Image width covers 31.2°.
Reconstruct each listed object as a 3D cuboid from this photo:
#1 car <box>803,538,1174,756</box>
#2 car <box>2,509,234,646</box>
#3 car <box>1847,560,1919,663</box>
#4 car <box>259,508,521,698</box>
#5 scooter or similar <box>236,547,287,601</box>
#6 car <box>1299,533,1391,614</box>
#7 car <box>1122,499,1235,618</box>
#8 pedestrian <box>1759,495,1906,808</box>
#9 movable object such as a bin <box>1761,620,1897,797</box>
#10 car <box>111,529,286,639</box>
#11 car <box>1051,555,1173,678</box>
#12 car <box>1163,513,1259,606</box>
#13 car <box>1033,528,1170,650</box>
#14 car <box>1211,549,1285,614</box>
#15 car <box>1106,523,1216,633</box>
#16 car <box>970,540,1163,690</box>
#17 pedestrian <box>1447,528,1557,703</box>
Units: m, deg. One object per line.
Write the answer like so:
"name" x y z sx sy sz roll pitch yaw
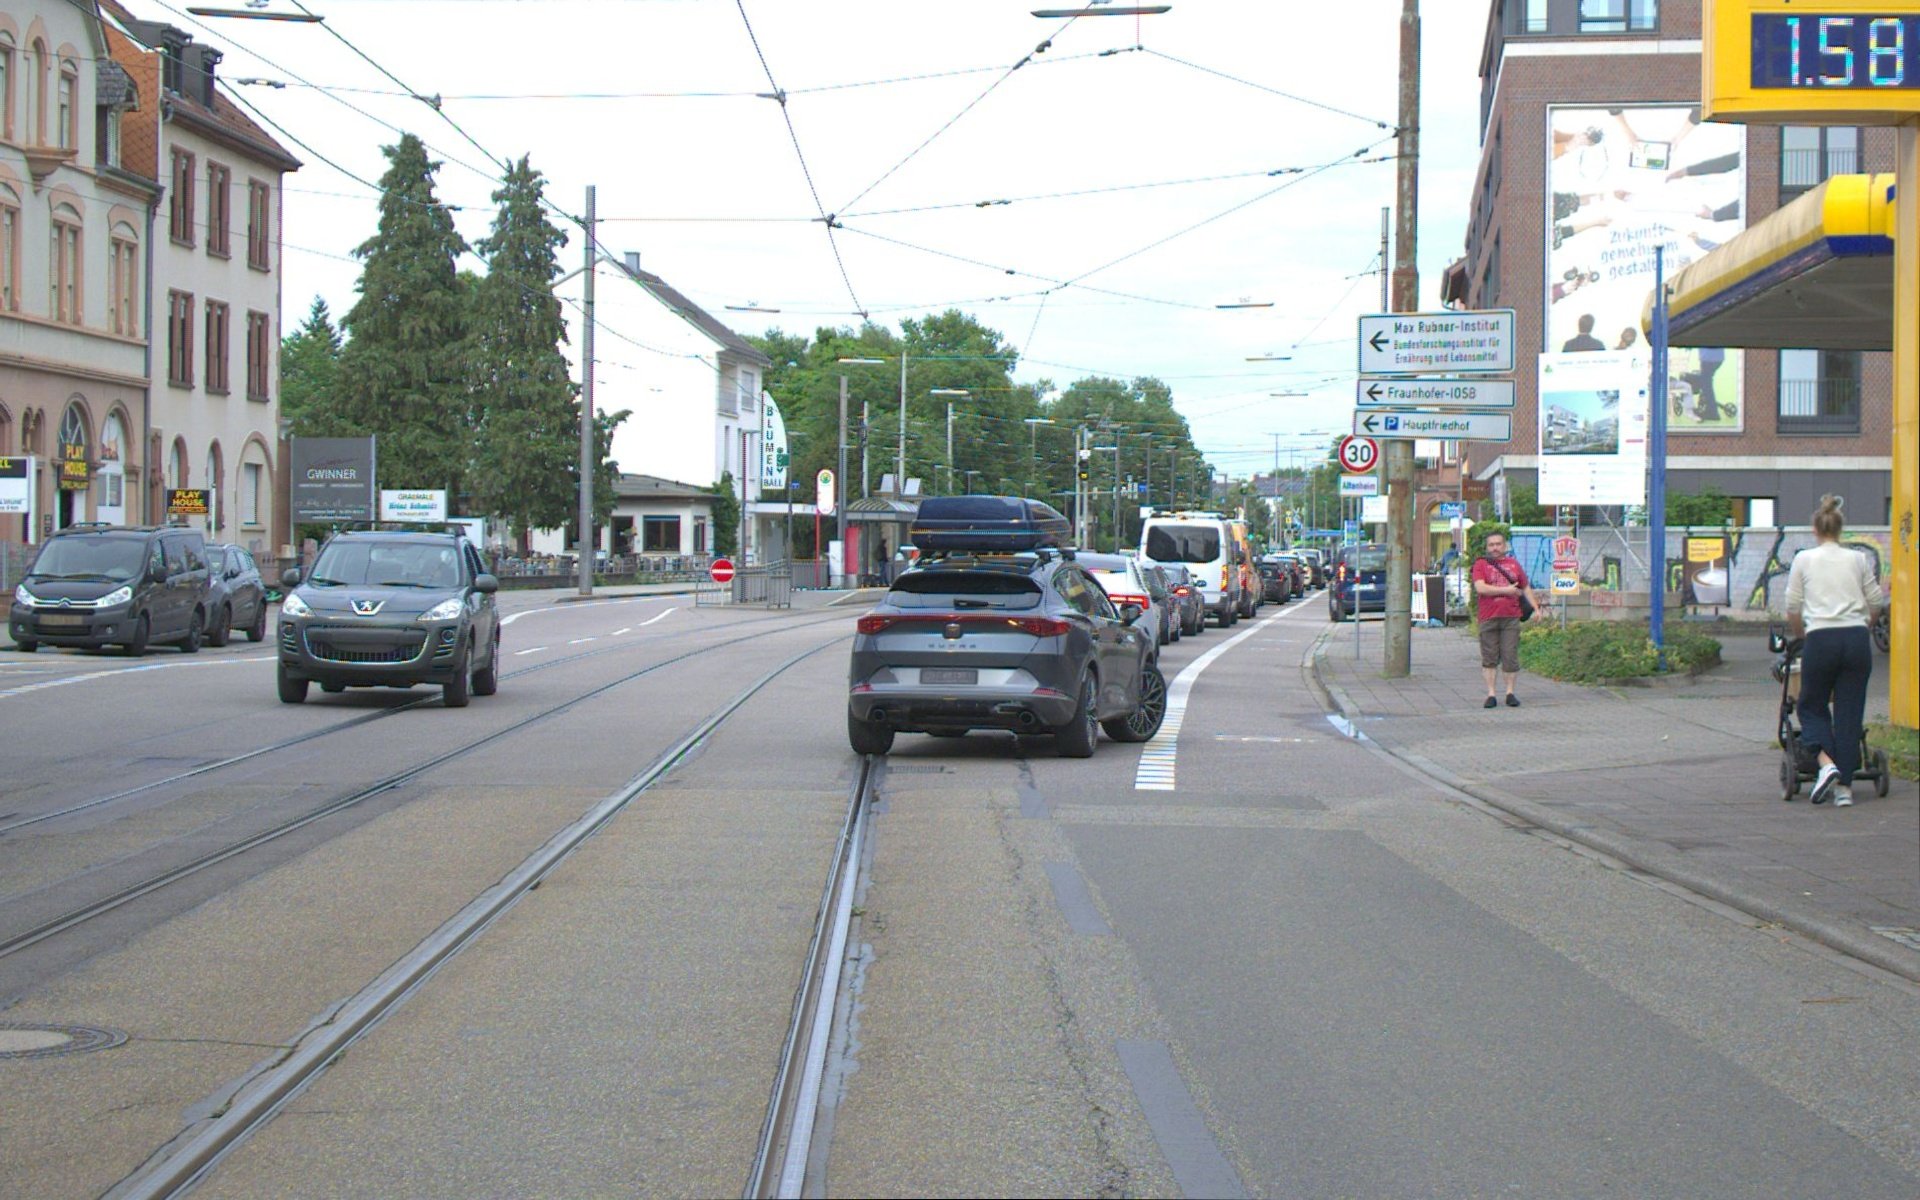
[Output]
"car" 0.326 0.334 26.720 1.991 1.492 4.323 2 0 12
"car" -12.480 -0.324 51.295 1.992 1.880 4.998 2 0 2
"car" 14.385 0.165 48.362 1.946 1.422 4.887 0 1 -8
"car" -5.489 0.015 33.594 1.827 1.731 4.335 0 0 0
"scooter or similar" -15.740 -0.587 77.468 1.049 1.184 0.318 2 0 -32
"car" 9.219 -0.628 82.547 1.874 1.817 4.096 2 0 3
"car" 4.687 -0.885 74.427 2.216 2.415 4.951 2 0 2
"pedestrian" 5.168 0.295 20.388 0.768 1.790 1.161 -2 0 14
"movable object such as a bin" 5.377 0.663 21.282 0.768 1.035 1.023 -2 0 14
"car" -12.650 -0.272 57.319 1.844 1.712 4.193 2 0 1
"car" 2.628 0.267 59.913 1.993 2.007 4.000 2 0 2
"car" 6.081 -0.960 83.817 2.139 2.138 4.743 2 0 3
"car" 2.133 -0.173 52.830 1.969 1.750 3.838 2 0 1
"car" 9.400 -0.613 112.408 1.993 2.007 4.000 2 0 -1
"car" 3.889 -0.425 66.730 1.994 2.007 4.000 2 0 3
"car" 1.148 0.130 38.850 1.981 1.544 4.183 2 1 0
"pedestrian" 5.515 0.153 35.054 0.972 1.732 0.861 -2 0 3
